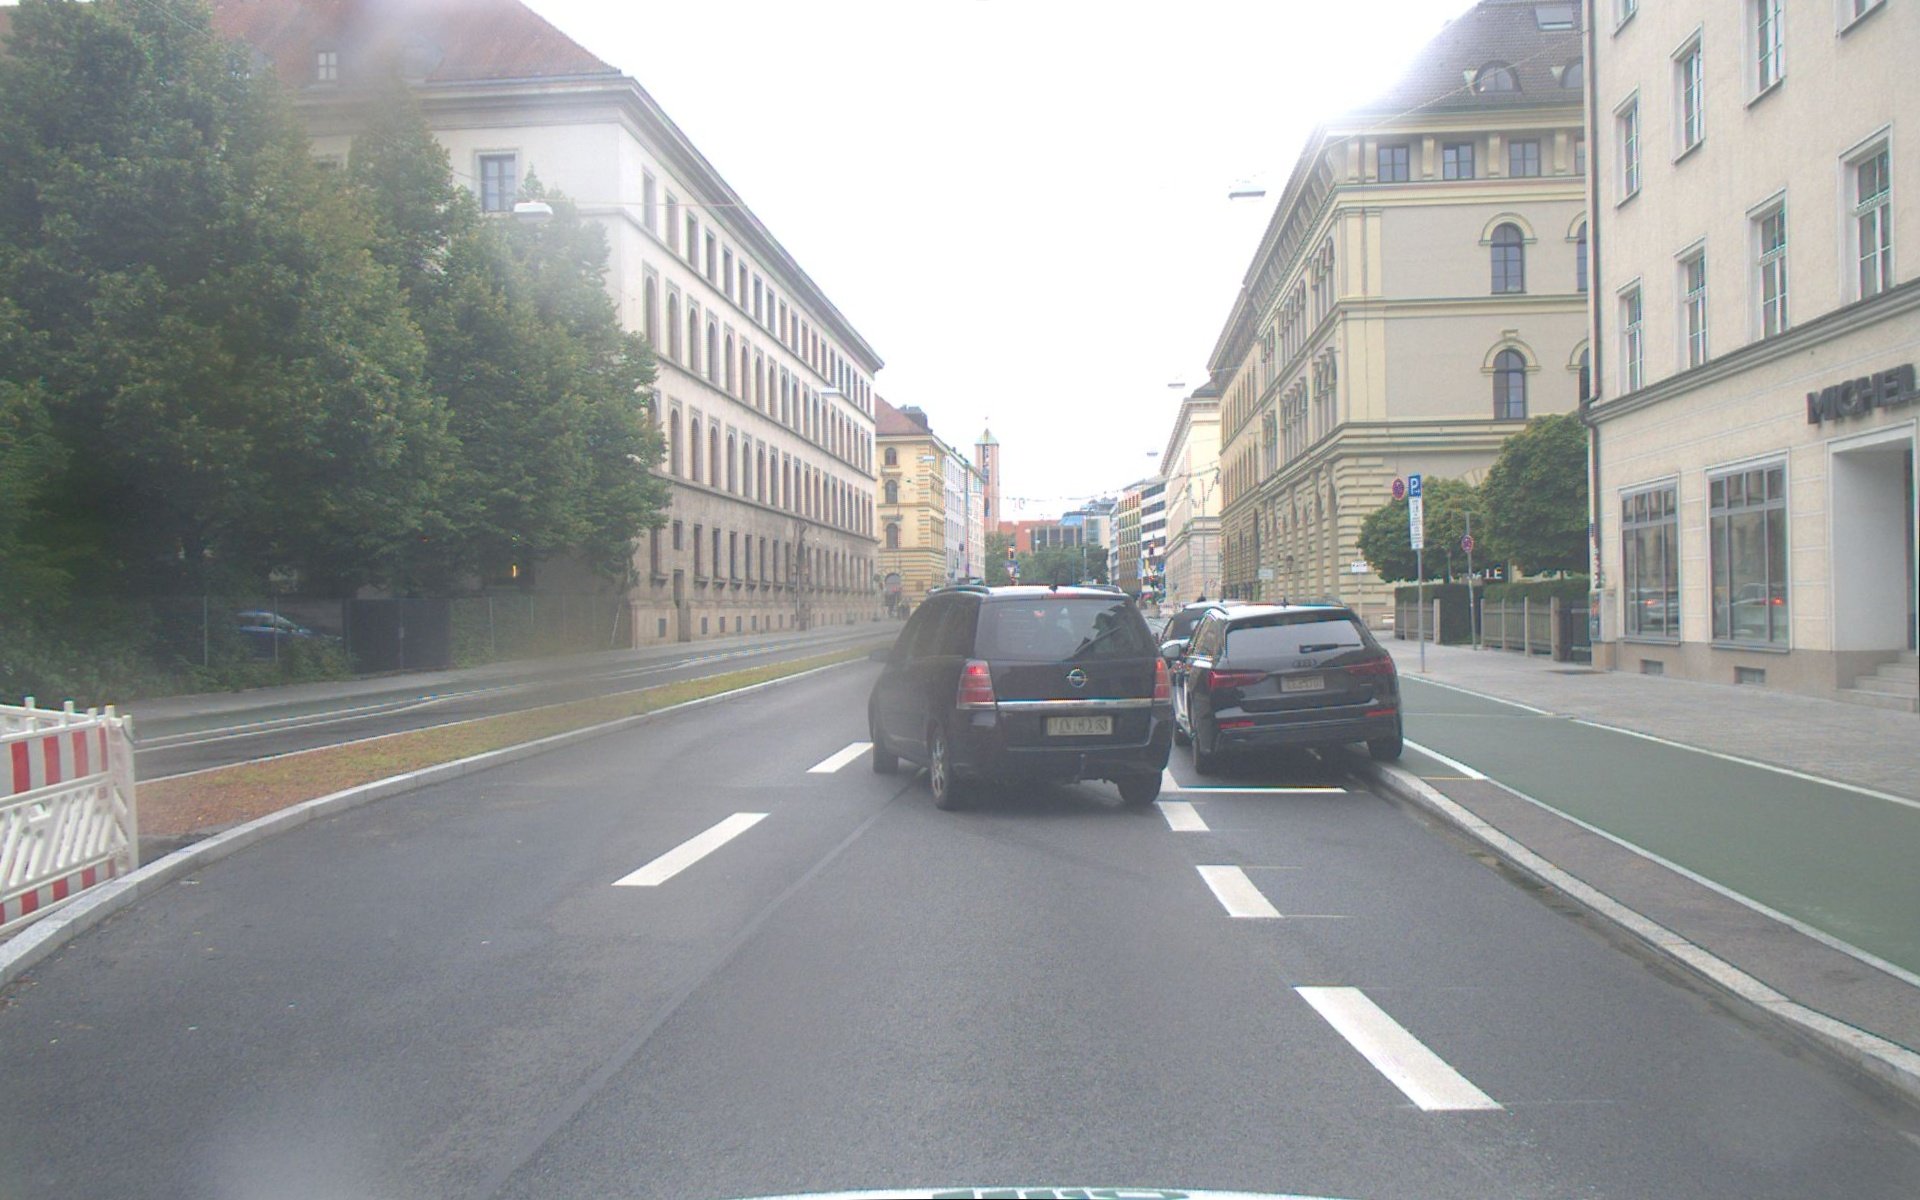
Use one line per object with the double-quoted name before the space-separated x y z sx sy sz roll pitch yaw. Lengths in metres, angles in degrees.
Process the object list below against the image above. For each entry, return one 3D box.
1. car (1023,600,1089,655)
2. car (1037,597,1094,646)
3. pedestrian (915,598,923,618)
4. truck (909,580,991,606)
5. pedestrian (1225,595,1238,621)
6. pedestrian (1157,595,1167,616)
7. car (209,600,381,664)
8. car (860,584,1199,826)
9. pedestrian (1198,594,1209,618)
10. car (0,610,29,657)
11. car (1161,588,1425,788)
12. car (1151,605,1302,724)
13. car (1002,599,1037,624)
"car" 2.691 0.731 45.719 1.693 1.427 4.002 0 0 5
"car" 3.370 0.641 52.226 1.693 1.486 4.002 0 0 5
"pedestrian" -3.935 0.746 157.467 0.642 1.836 0.728 -1 0 4
"truck" -0.867 -0.660 151.158 7.229 2.292 2.181 1 -1 7
"pedestrian" 17.370 0.510 105.740 0.695 1.646 0.755 -1 0 4
"pedestrian" 16.059 0.466 131.468 0.736 1.646 0.713 -1 0 13
"car" -19.085 0.909 47.550 4.172 1.678 1.806 -1 0 5
"car" 0.384 0.705 13.418 1.734 1.644 4.016 0 0 -13
"pedestrian" 16.513 0.393 112.233 0.695 1.646 0.755 -1 0 4
"car" -33.244 1.159 55.273 1.733 1.571 4.002 -1 0 4
"car" 3.025 0.722 15.928 1.771 1.506 4.464 -5 0 3
"car" 3.556 0.796 22.773 1.787 1.432 4.723 0 0 6
"car" 3.681 0.709 101.713 1.951 1.469 4.003 -1 0 5
